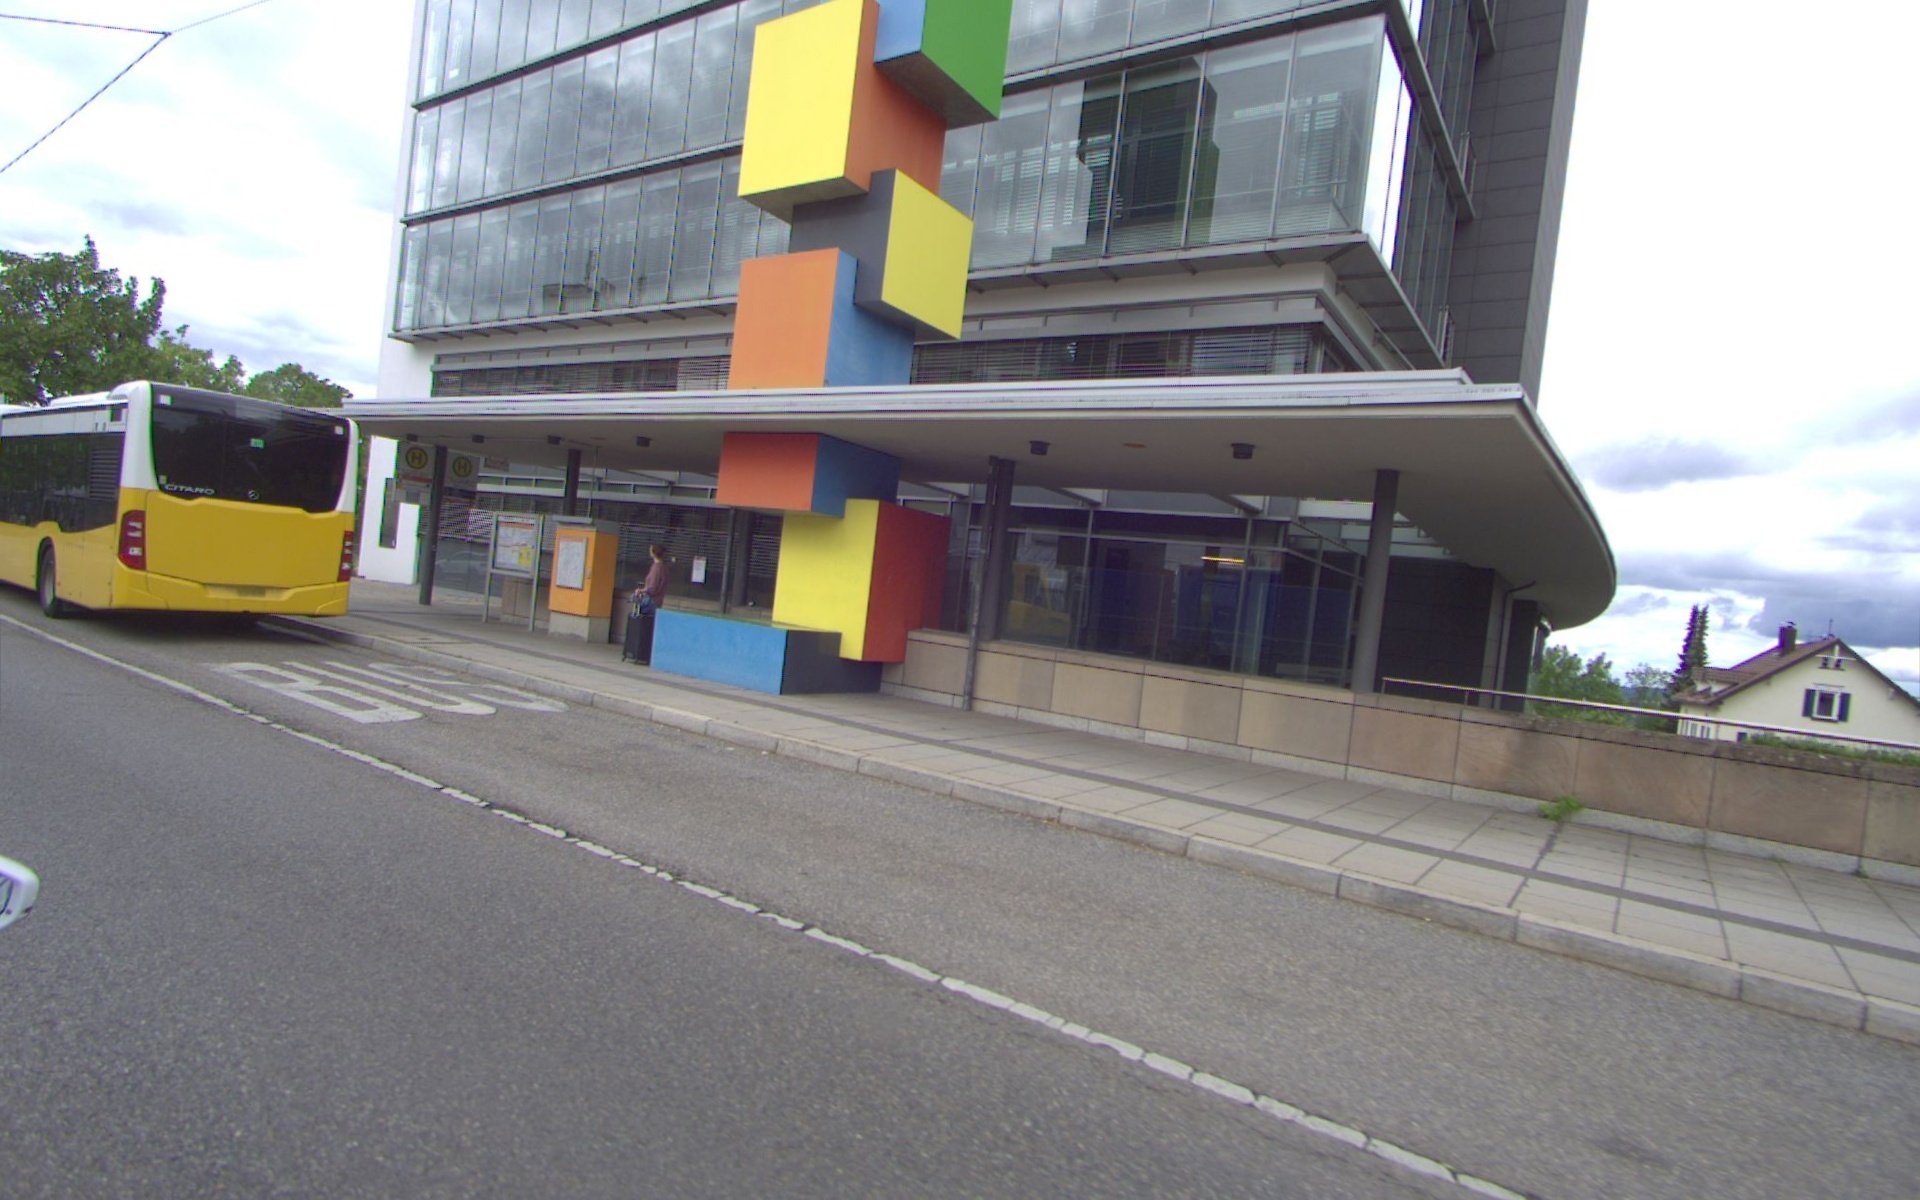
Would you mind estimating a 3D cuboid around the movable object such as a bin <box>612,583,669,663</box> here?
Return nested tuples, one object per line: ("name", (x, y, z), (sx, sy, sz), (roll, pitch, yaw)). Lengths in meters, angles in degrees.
("movable object such as a bin", (-4.414, 0.321, 13.890), (0.524, 1.042, 0.420), (7, 1, 34))

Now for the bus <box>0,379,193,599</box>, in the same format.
("bus", (-19.031, -2.189, 20.187), (9.717, 3.277, 2.985), (5, -3, 37))

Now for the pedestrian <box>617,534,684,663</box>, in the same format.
("pedestrian", (-4.392, -0.023, 14.295), (0.563, 1.757, 0.508), (7, 1, 34))

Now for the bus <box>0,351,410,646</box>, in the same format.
("bus", (-12.246, -1.443, 15.309), (9.195, 3.277, 3.034), (6, 1, 36))
